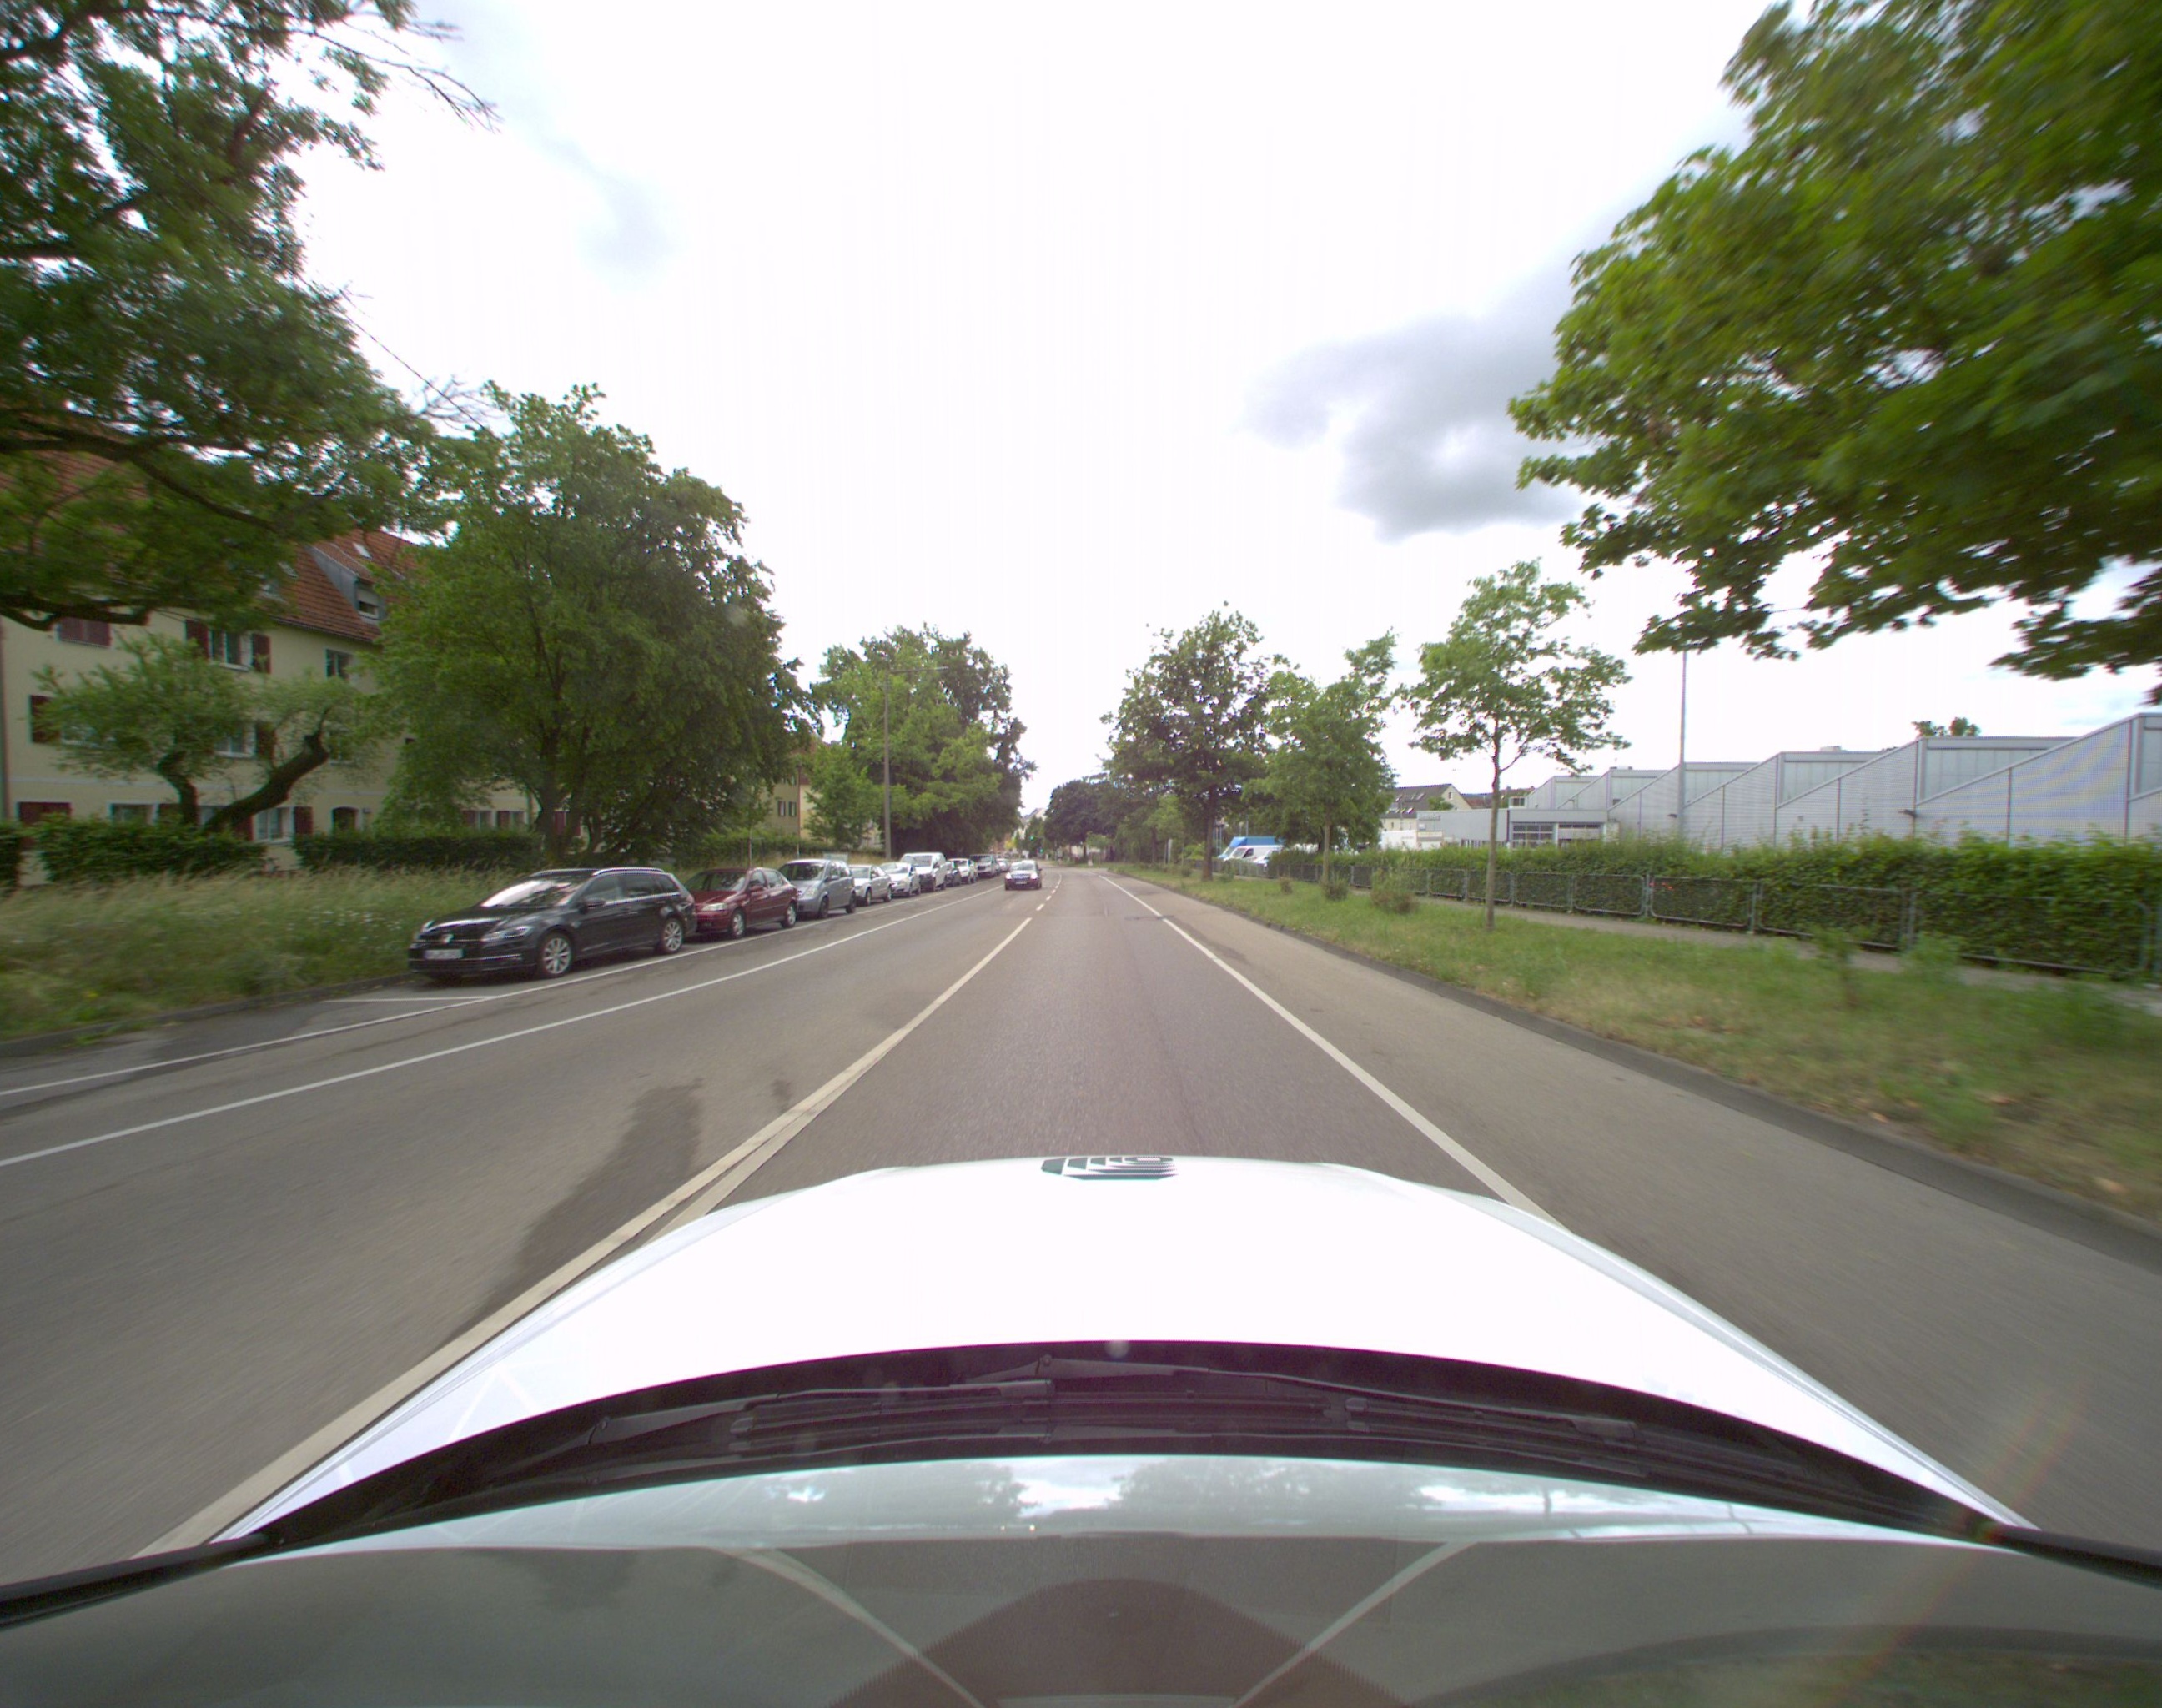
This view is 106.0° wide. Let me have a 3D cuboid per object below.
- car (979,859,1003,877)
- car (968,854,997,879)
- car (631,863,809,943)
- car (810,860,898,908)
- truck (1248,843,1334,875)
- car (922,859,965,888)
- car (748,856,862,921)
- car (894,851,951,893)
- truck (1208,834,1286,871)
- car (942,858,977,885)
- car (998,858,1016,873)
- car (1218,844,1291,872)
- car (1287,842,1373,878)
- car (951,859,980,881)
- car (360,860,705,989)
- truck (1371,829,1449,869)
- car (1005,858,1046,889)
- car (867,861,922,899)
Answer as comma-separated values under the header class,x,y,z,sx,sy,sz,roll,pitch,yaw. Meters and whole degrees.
class,x,y,z,sx,sy,sz,roll,pitch,yaw
car,-8.303,1.251,75.450,1.761,1.633,4.155,-1,0,-1
car,-7.960,0.975,66.123,1.861,1.963,5.123,-1,0,-2
car,-7.525,0.950,17.474,1.760,1.447,4.153,-1,0,3
car,-7.978,1.011,29.068,1.761,1.495,4.359,-2,0,2
truck,15.331,0.393,59.383,6.270,2.212,2.226,0,-1,-29
car,-7.835,1.086,46.753,1.667,1.488,4.045,-2,-1,1
car,-7.545,0.884,22.677,1.762,1.592,4.134,-1,0,0
car,-7.788,0.826,40.396,1.762,1.931,5.155,0,0,0
truck,16.084,-0.194,78.757,7.199,3.477,2.597,-1,0,-25
car,-7.655,1.075,51.544,1.668,1.564,4.278,-1,0,-2
car,-8.400,1.318,92.677,1.763,1.573,4.755,-1,-1,-2
car,15.070,0.370,70.745,6.038,2.367,2.343,0,-1,-24
car,15.840,0.366,51.786,5.271,2.188,2.054,0,-1,-26
car,-8.135,1.111,57.671,1.658,1.479,4.086,-1,-1,-3
car,-7.854,0.889,12.384,1.867,1.570,4.655,0,0,4
truck,30.687,-0.413,76.424,2.848,3.459,9.525,0,0,-4
car,-2.753,0.950,40.961,1.631,1.467,4.001,-2,-1,1
car,-7.819,1.057,34.428,1.631,1.433,3.945,0,0,-4
